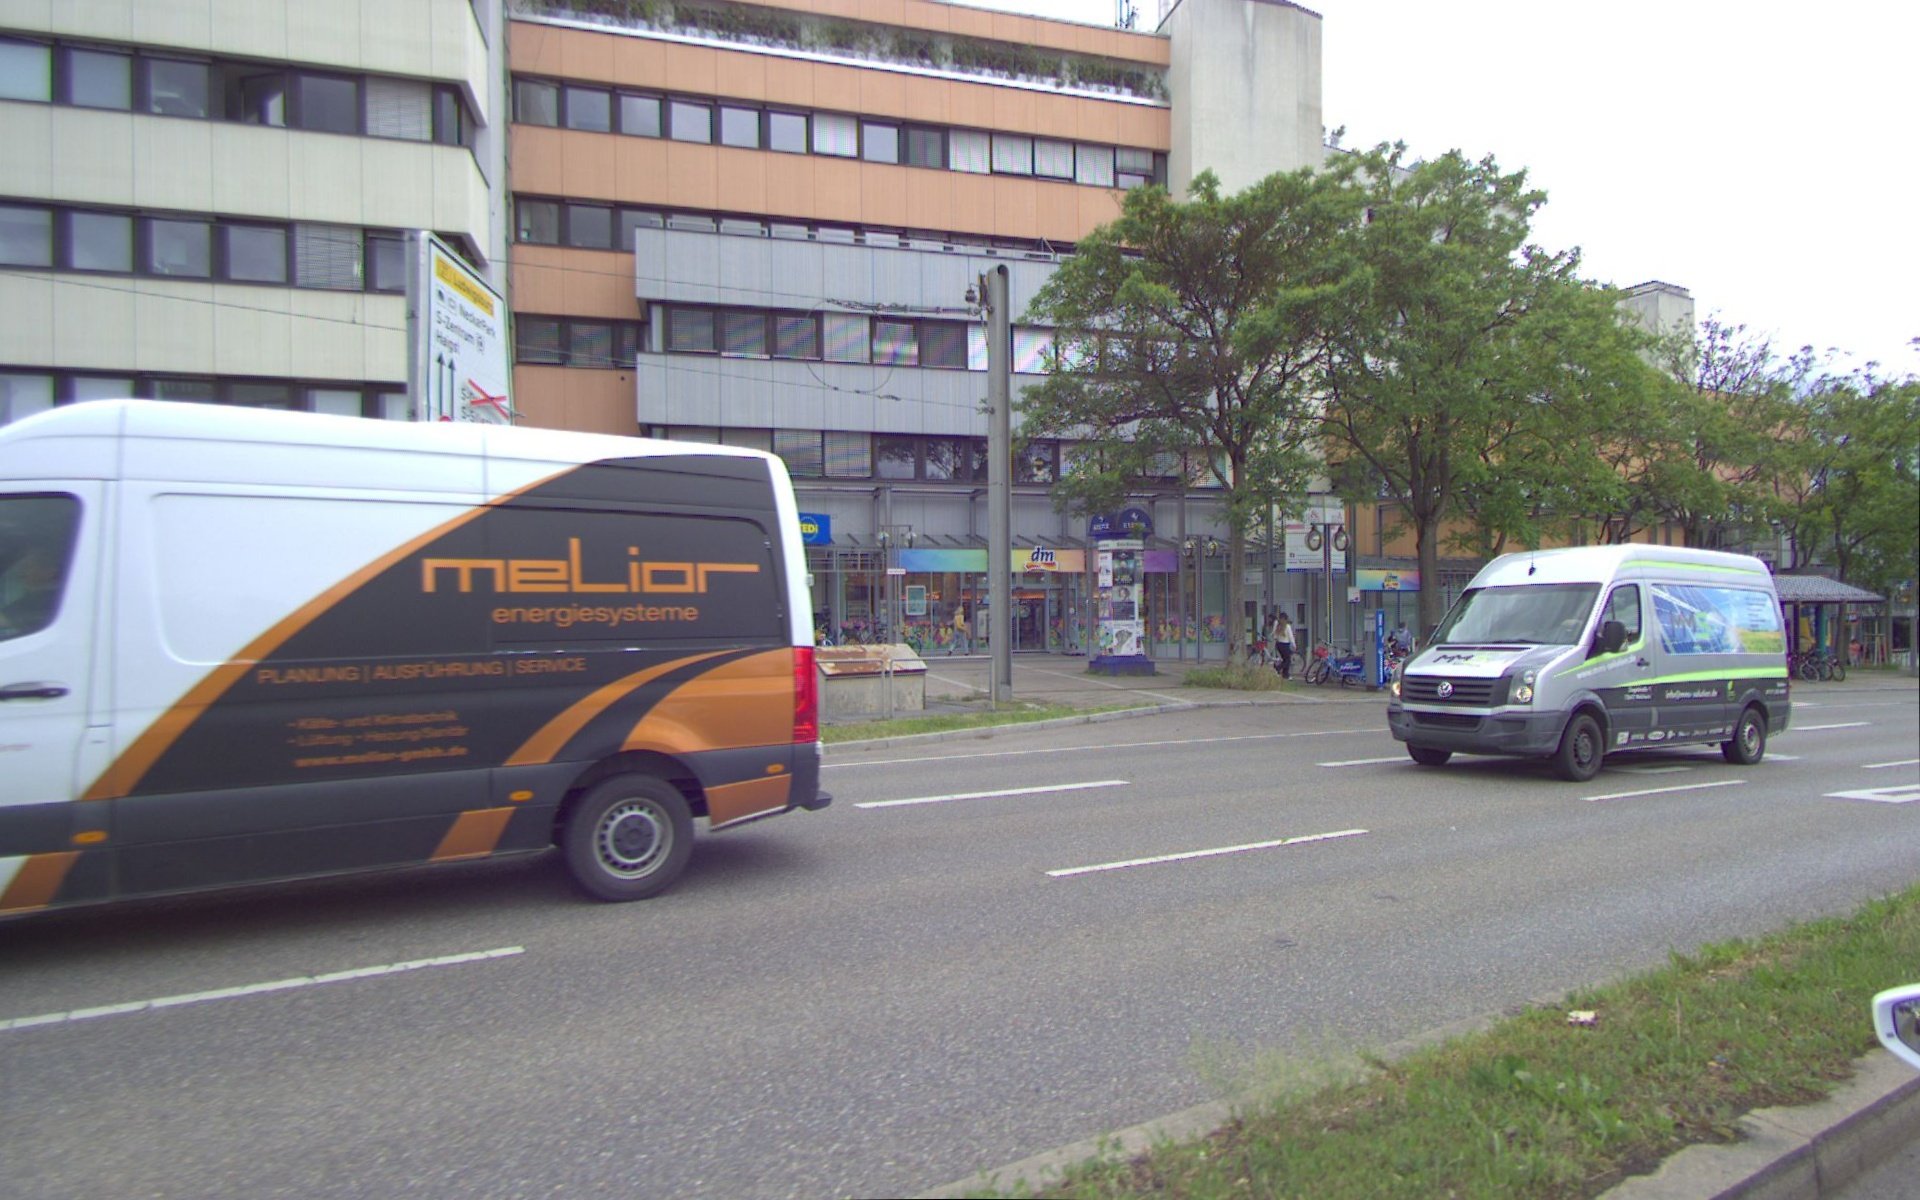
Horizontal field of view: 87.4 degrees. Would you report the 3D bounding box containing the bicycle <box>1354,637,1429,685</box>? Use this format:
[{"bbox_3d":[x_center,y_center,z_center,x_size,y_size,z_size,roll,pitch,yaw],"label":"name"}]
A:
[{"bbox_3d":[10.921,1.530,25.460,1.655,1.176,0.605,0,-1,9],"label":"bicycle"}]

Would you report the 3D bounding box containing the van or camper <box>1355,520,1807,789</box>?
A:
[{"bbox_3d":[7.697,0.624,12.237,6.043,2.632,2.023,1,-3,-30],"label":"van or camper"}]

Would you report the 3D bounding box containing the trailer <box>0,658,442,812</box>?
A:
[{"bbox_3d":[-11.893,1.377,9.717,12.004,1.350,2.823,1,-2,-35],"label":"trailer"}]

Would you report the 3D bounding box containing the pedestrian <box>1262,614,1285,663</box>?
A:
[{"bbox_3d":[10.511,1.284,33.674,0.610,1.621,0.635,2,1,9],"label":"pedestrian"}]

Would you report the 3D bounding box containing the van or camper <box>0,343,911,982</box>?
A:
[{"bbox_3d":[-3.404,0.314,5.612,6.043,2.632,1.985,1,-3,-30],"label":"van or camper"}]

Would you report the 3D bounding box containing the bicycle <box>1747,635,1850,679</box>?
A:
[{"bbox_3d":[31.220,2.091,37.460,0.692,1.526,2.885,1,-2,-30],"label":"bicycle"}]

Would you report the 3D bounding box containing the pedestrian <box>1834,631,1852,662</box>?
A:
[{"bbox_3d":[49.995,2.644,56.875,0.672,1.750,0.561,1,-1,-31],"label":"pedestrian"}]

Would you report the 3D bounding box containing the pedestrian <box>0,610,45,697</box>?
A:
[{"bbox_3d":[-19.064,1.069,20.222,0.730,1.723,0.618,1,-1,-19],"label":"pedestrian"}]

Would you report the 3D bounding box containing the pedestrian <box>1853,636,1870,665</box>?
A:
[{"bbox_3d":[50.370,2.793,56.101,0.672,1.610,0.514,1,-1,-31],"label":"pedestrian"}]

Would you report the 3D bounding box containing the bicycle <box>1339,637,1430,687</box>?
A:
[{"bbox_3d":[10.243,1.492,24.270,1.925,1.176,0.605,0,-1,9],"label":"bicycle"}]

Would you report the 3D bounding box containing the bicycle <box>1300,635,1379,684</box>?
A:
[{"bbox_3d":[9.513,1.481,25.158,1.935,1.176,0.602,1,-1,-19],"label":"bicycle"}]

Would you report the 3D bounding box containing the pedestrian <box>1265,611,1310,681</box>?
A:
[{"bbox_3d":[8.435,1.174,25.886,0.698,1.736,0.772,1,1,-28],"label":"pedestrian"}]

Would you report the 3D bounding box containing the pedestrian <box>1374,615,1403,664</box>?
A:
[{"bbox_3d":[14.465,1.328,33.927,0.614,1.621,0.630,1,1,-26],"label":"pedestrian"}]

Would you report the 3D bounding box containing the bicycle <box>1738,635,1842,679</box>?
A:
[{"bbox_3d":[30.547,2.070,37.020,0.769,1.526,2.885,1,-2,-30],"label":"bicycle"}]

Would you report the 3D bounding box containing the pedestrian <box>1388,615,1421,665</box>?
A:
[{"bbox_3d":[14.707,1.321,33.254,0.698,1.605,0.663,1,1,-28],"label":"pedestrian"}]

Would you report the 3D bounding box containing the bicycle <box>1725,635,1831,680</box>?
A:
[{"bbox_3d":[29.711,2.060,36.555,0.796,1.526,2.885,1,-2,-30],"label":"bicycle"}]

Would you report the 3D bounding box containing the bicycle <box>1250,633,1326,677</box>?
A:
[{"bbox_3d":[9.097,1.511,27.936,1.978,1.176,0.674,0,-1,17],"label":"bicycle"}]

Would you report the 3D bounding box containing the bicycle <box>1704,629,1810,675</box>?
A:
[{"bbox_3d":[28.428,1.825,35.892,0.802,1.526,2.887,1,-1,-28],"label":"bicycle"}]

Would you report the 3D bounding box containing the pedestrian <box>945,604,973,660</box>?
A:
[{"bbox_3d":[-0.035,0.991,31.481,0.661,1.723,0.646,1,-1,-31],"label":"pedestrian"}]

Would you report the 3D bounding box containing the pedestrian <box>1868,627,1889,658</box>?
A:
[{"bbox_3d":[49.427,2.285,54.047,0.816,1.607,0.630,2,-2,-32],"label":"pedestrian"}]

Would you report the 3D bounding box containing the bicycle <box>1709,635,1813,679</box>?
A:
[{"bbox_3d":[29.121,2.047,36.581,0.796,1.526,2.885,1,-2,-30],"label":"bicycle"}]

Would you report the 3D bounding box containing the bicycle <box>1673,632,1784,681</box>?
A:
[{"bbox_3d":[26.650,1.927,34.895,0.961,1.527,2.885,1,0,-30],"label":"bicycle"}]

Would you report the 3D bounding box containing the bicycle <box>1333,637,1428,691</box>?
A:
[{"bbox_3d":[9.812,1.483,23.500,1.925,1.177,0.605,1,1,10],"label":"bicycle"}]

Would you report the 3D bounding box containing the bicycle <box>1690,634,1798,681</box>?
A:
[{"bbox_3d":[27.564,1.995,35.378,0.881,1.526,2.885,1,-2,-30],"label":"bicycle"}]

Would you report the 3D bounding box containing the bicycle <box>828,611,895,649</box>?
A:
[{"bbox_3d":[-3.088,0.933,31.390,1.987,1.176,0.671,1,-1,-19],"label":"bicycle"}]

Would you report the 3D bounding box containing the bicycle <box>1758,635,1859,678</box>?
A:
[{"bbox_3d":[31.830,2.102,37.759,0.591,1.526,2.885,1,-2,-30],"label":"bicycle"}]
